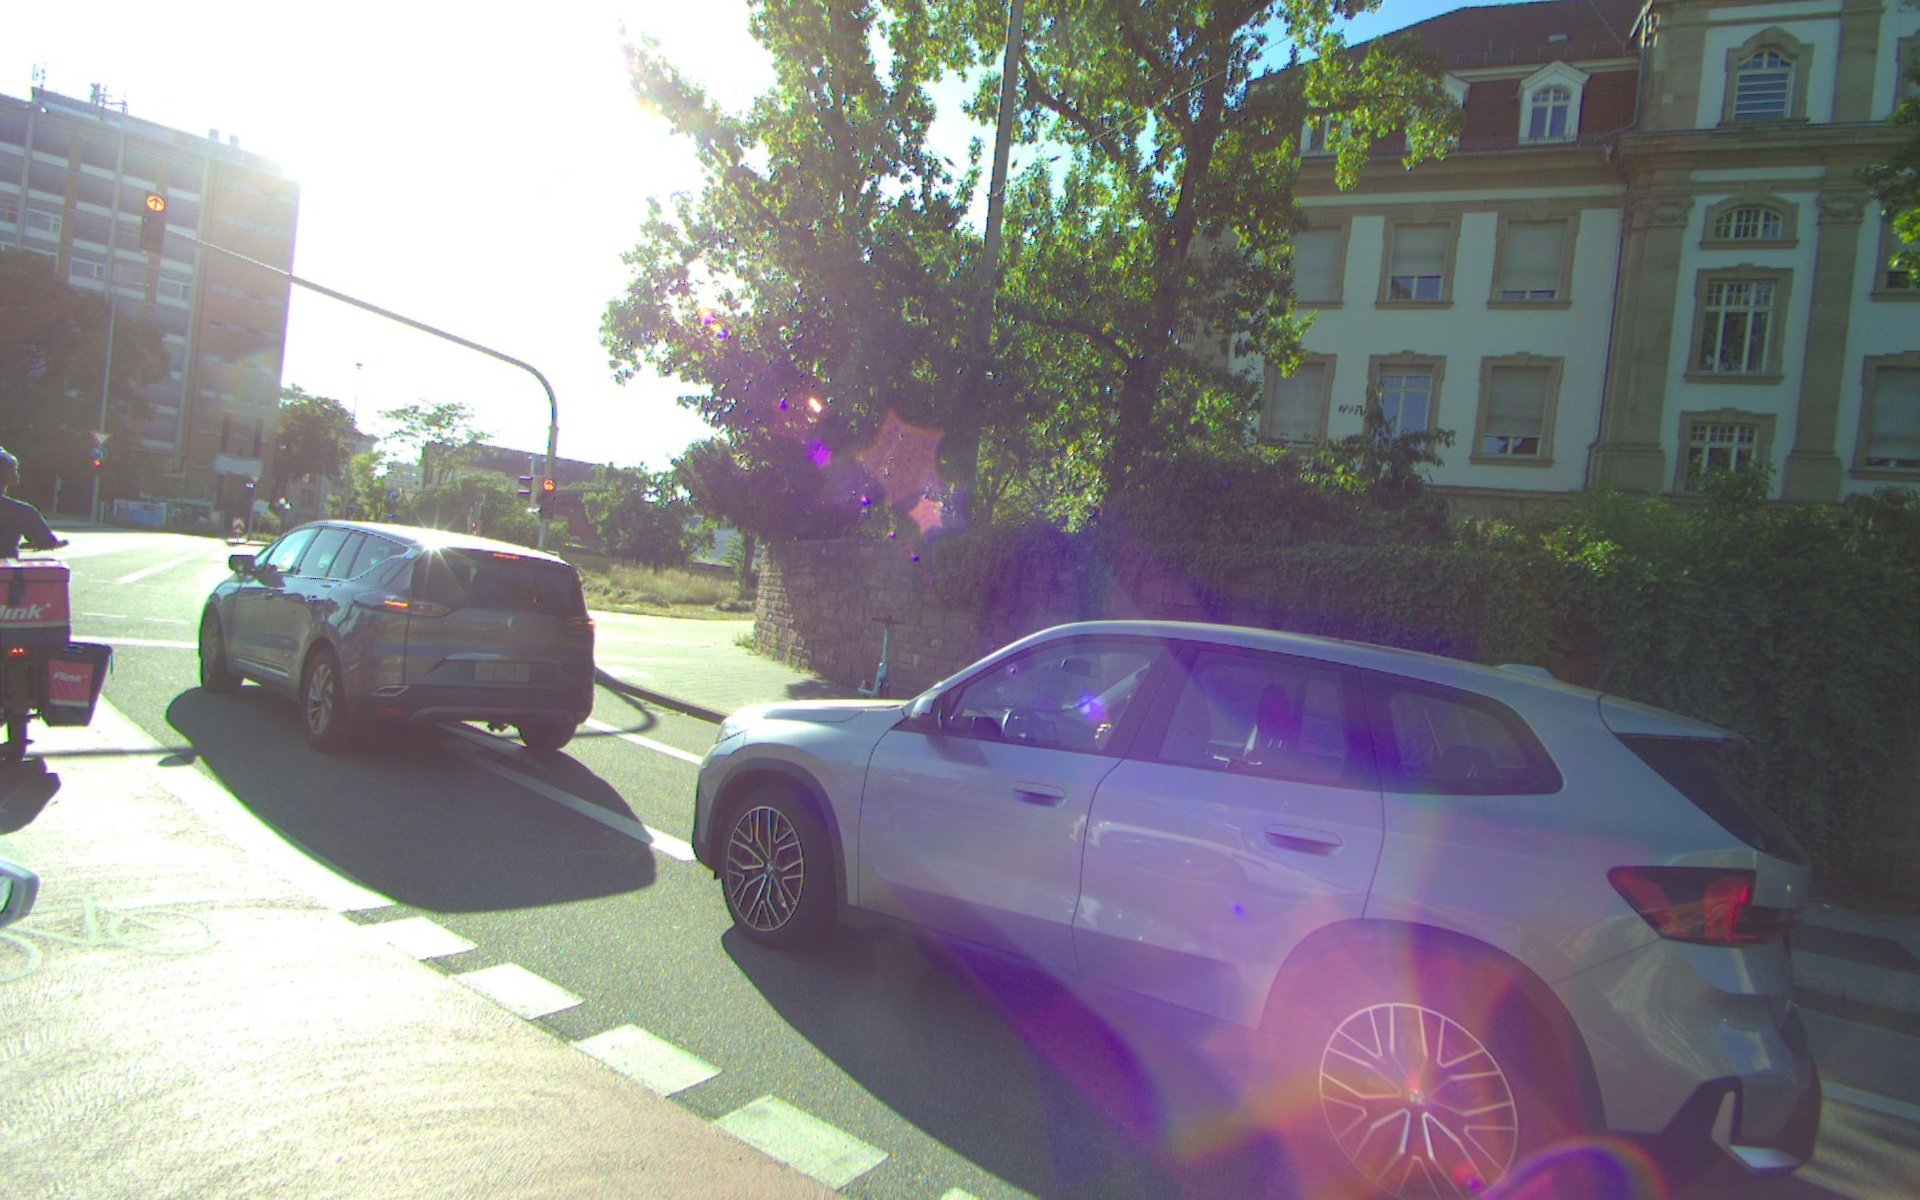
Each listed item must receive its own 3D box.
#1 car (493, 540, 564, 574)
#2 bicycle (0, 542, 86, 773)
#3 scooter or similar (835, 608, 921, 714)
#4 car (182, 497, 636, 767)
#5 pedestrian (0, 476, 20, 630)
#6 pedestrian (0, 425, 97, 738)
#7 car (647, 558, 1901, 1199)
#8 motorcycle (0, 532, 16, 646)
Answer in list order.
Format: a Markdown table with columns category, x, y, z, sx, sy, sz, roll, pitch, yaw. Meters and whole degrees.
| category | x | y | z | sx | sy | sz | roll | pitch | yaw |
| --- | --- | --- | --- | --- | --- | --- | --- | --- | --- |
| car | -32.486 | -3.235 | 75.789 | 4.652 | 1.969 | 1.901 | 7 | 0 | -29 |
| bicycle | -5.993 | 0.257 | 6.178 | 2.340 | 1.185 | 0.553 | 6 | -2 | 42 |
| scooter or similar | -1.158 | 0.820 | 13.882 | 0.569 | 1.285 | 1.414 | 6 | 0 | -27 |
| car | -4.840 | 0.163 | 8.555 | 4.307 | 1.709 | 1.830 | 6 | -2 | 40 |
| pedestrian | -8.713 | -0.300 | 8.748 | 0.585 | 1.617 | 1.013 | 8 | -1 | -41 |
| pedestrian | -6.218 | -0.146 | 6.393 | 0.943 | 1.890 | 0.806 | 6 | -1 | 40 |
| car | 0.824 | 0.883 | 4.243 | 4.263 | 1.612 | 1.788 | 6 | -2 | 37 |
| motorcycle | -8.938 | -0.081 | 8.921 | 0.611 | 1.110 | 2.334 | 8 | -2 | -41 |
